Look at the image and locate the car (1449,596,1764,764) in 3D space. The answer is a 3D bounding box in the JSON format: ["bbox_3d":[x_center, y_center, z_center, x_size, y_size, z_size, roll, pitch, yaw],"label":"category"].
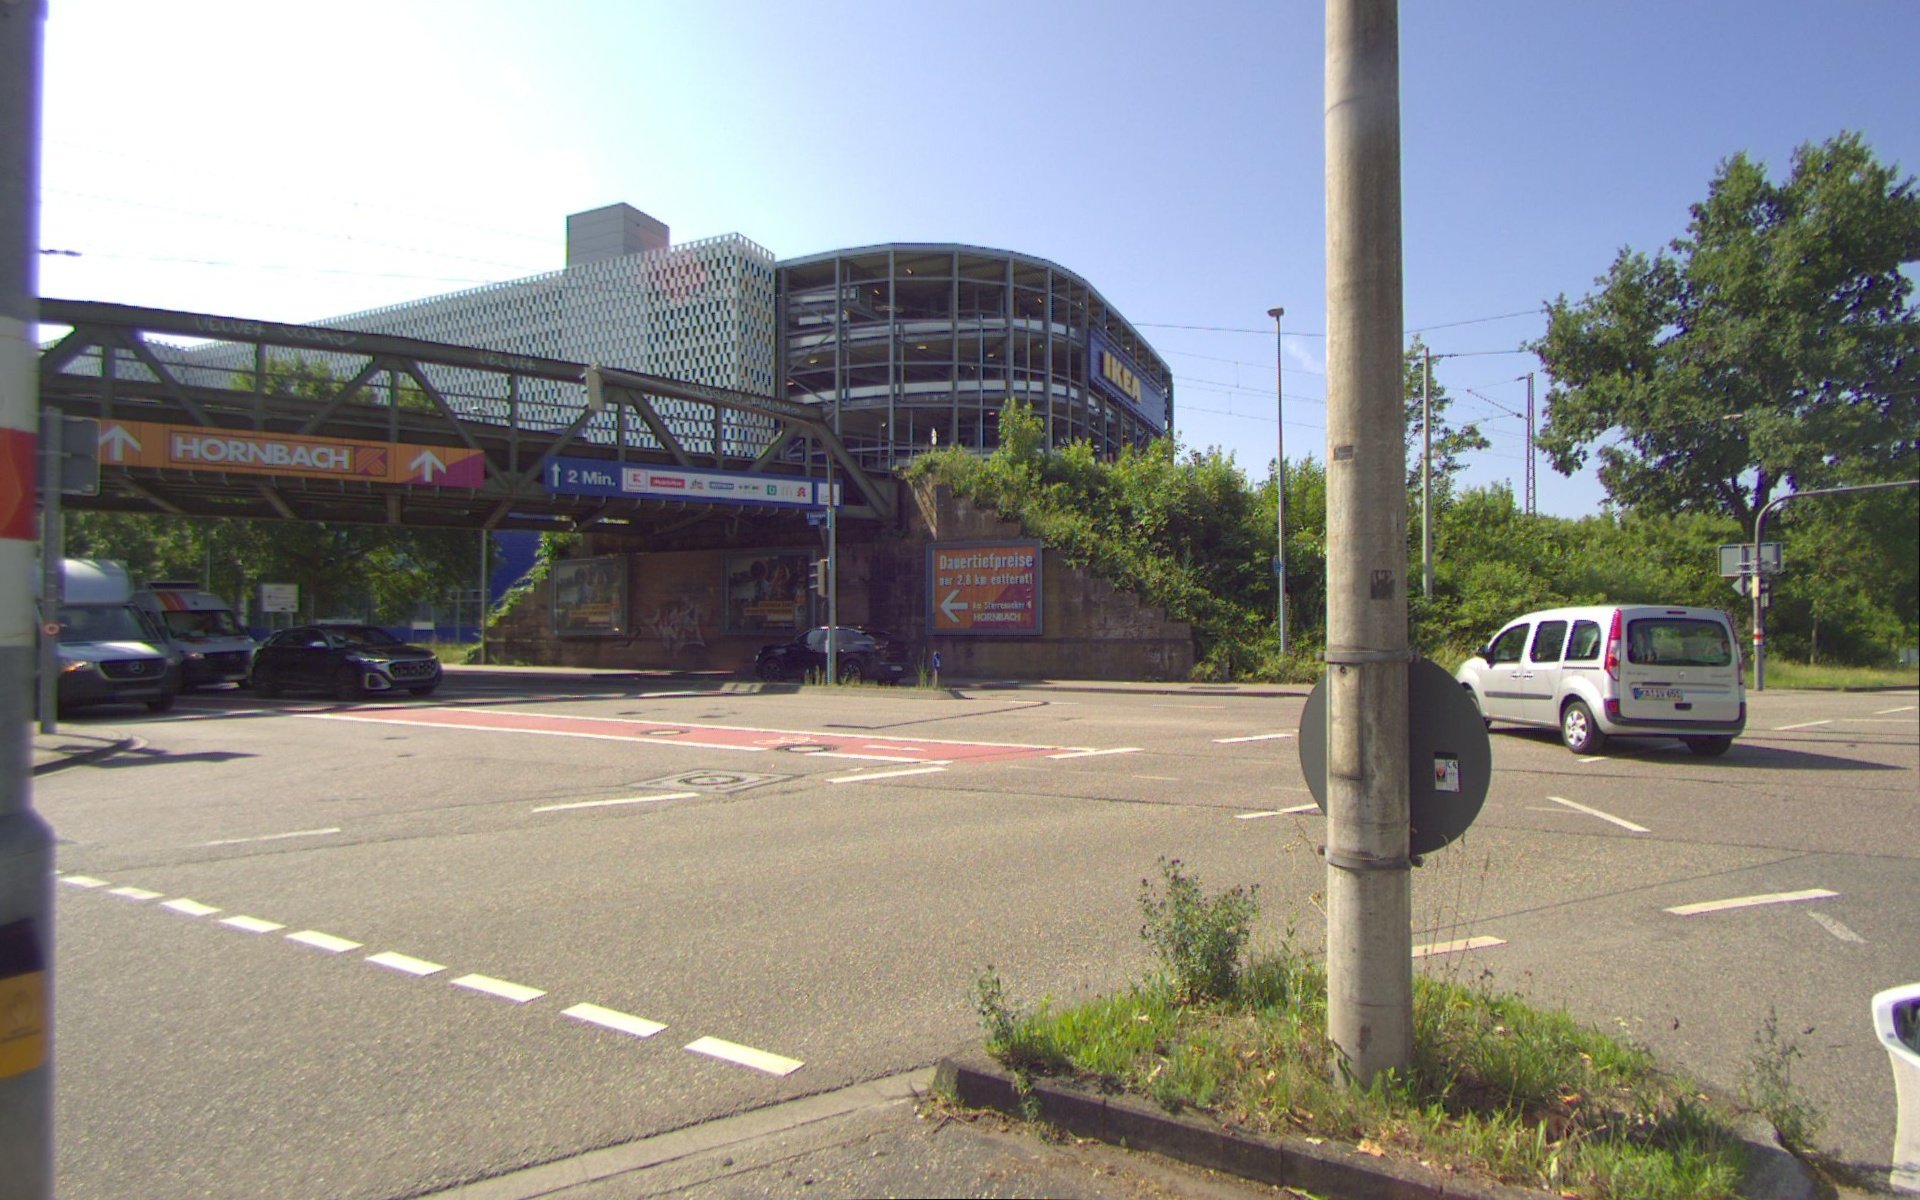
[{"bbox_3d":[8.367,0.925,13.497,1.756,1.862,4.001,2,0,3],"label":"car"}]

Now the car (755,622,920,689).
[{"bbox_3d":[-3.350,1.474,27.323,4.153,1.684,1.933,-1,-2,30],"label":"car"}]

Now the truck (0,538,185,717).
[{"bbox_3d":[-18.689,0.609,20.061,6.736,3.147,2.217,-2,-1,25],"label":"truck"}]

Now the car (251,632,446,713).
[{"bbox_3d":[-13.854,1.604,22.750,3.925,1.668,1.903,-2,-2,25],"label":"car"}]

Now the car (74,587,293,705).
[{"bbox_3d":[-20.742,1.193,26.782,6.085,2.850,2.172,-1,-2,27],"label":"car"}]
